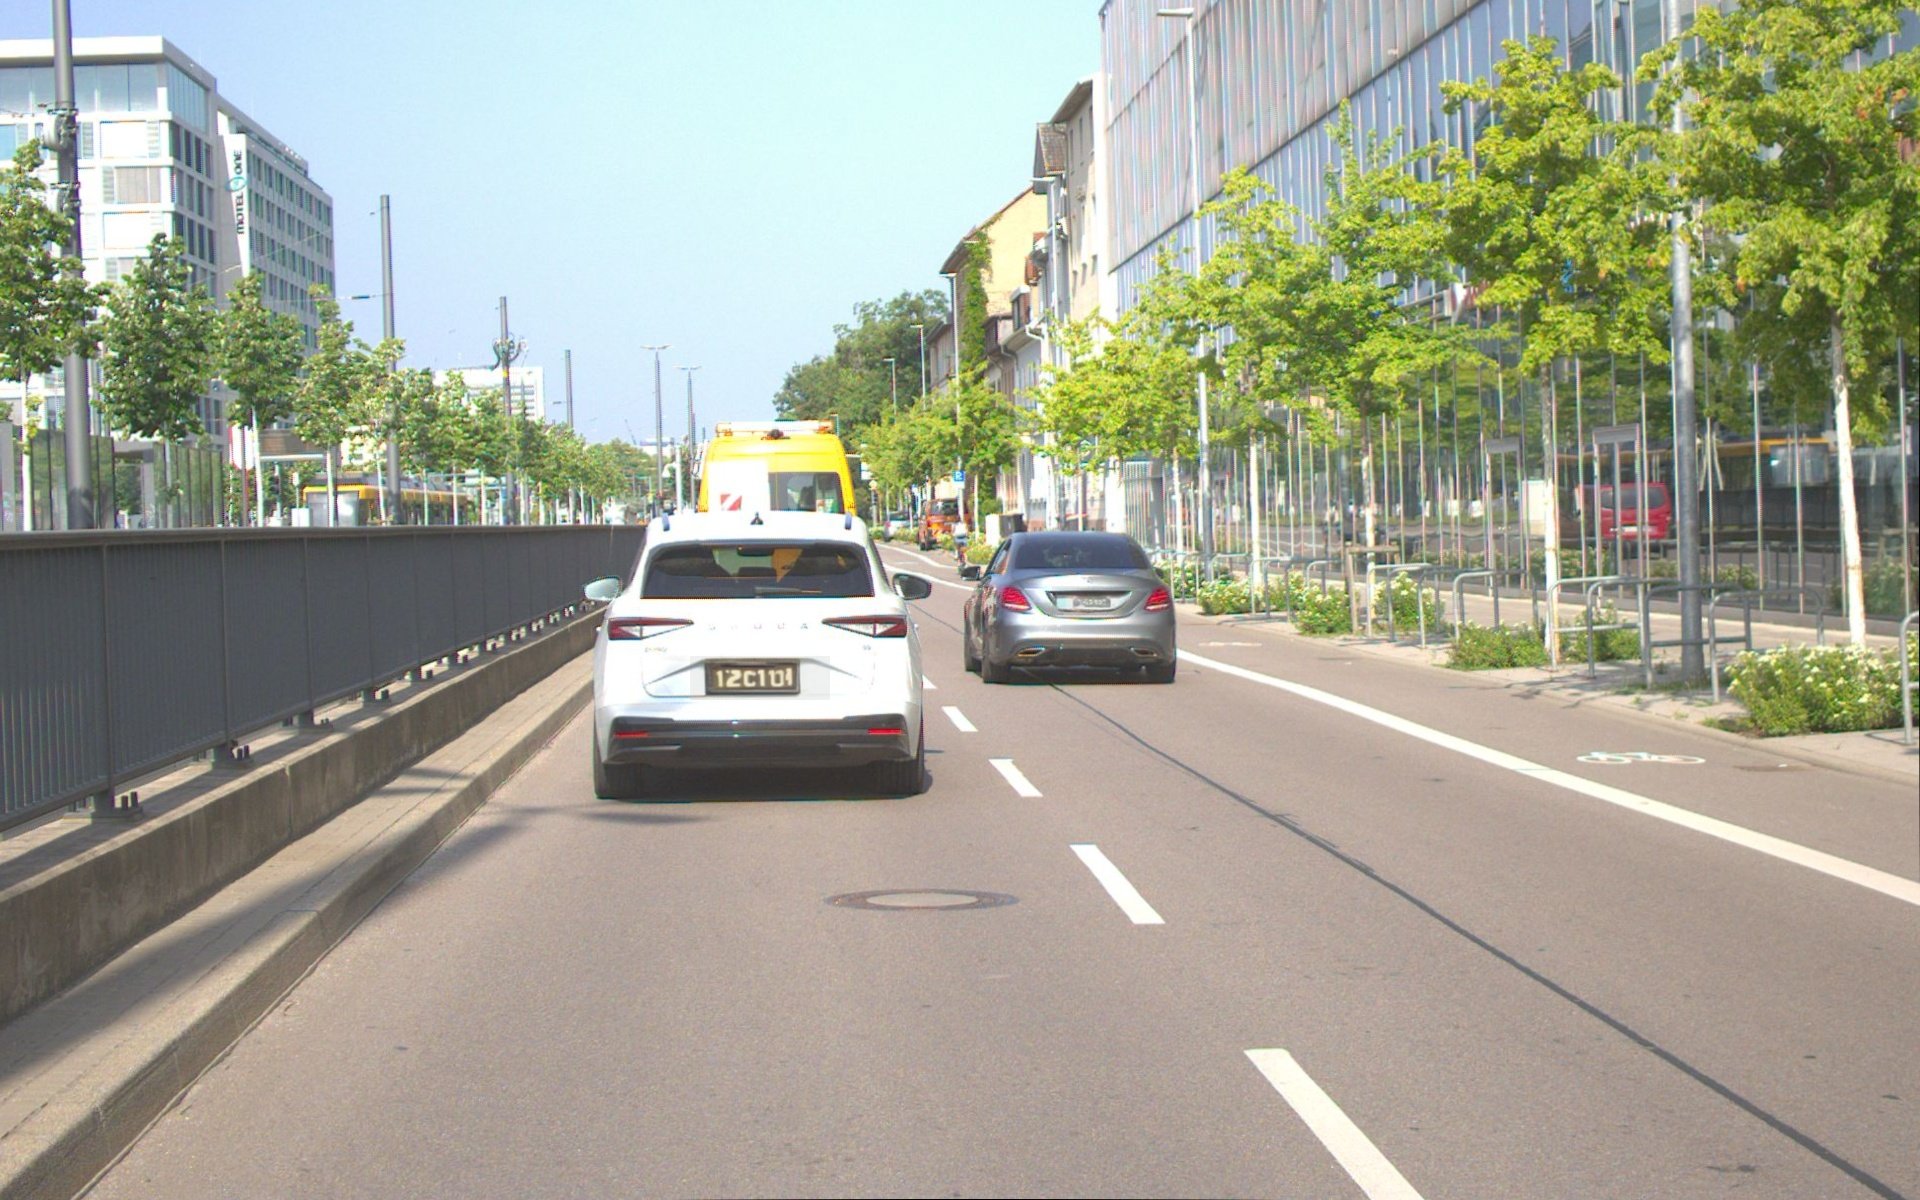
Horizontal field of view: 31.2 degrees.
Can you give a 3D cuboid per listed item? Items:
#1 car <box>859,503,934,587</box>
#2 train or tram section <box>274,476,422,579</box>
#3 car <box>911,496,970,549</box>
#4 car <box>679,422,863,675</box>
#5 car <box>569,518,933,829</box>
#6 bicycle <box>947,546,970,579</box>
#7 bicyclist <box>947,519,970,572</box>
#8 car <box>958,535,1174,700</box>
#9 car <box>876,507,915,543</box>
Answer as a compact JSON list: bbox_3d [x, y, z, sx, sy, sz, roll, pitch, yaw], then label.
[{"bbox_3d":[-1.537,-1.355,84.032,1.788,2.007,4.000,0,1,-1],"label":"car"},{"bbox_3d":[-23.165,-2.759,131.195,2.906,3.663,18.139,0,1,-2],"label":"train or tram section"},{"bbox_3d":[-0.784,-3.058,135.078,2.063,2.007,4.589,-1,1,-3],"label":"car"},{"bbox_3d":[-2.283,-0.724,41.959,2.020,2.786,5.402,-2,4,-3],"label":"car"},{"bbox_3d":[-1.194,0.336,20.118,1.869,1.569,4.001,-2,2,-3],"label":"car"},{"bbox_3d":[-0.043,-1.116,102.064,0.655,0.935,1.517,-1,2,-1],"label":"bicycle"},{"bbox_3d":[-0.046,-1.620,101.907,0.639,1.571,0.771,-1,1,-1],"label":"bicyclist"},{"bbox_3d":[0.948,0.119,32.857,1.760,1.431,4.116,0,2,-3],"label":"car"},{"bbox_3d":[-3.363,-3.929,178.713,1.812,1.806,3.836,-1,2,-3],"label":"car"}]
